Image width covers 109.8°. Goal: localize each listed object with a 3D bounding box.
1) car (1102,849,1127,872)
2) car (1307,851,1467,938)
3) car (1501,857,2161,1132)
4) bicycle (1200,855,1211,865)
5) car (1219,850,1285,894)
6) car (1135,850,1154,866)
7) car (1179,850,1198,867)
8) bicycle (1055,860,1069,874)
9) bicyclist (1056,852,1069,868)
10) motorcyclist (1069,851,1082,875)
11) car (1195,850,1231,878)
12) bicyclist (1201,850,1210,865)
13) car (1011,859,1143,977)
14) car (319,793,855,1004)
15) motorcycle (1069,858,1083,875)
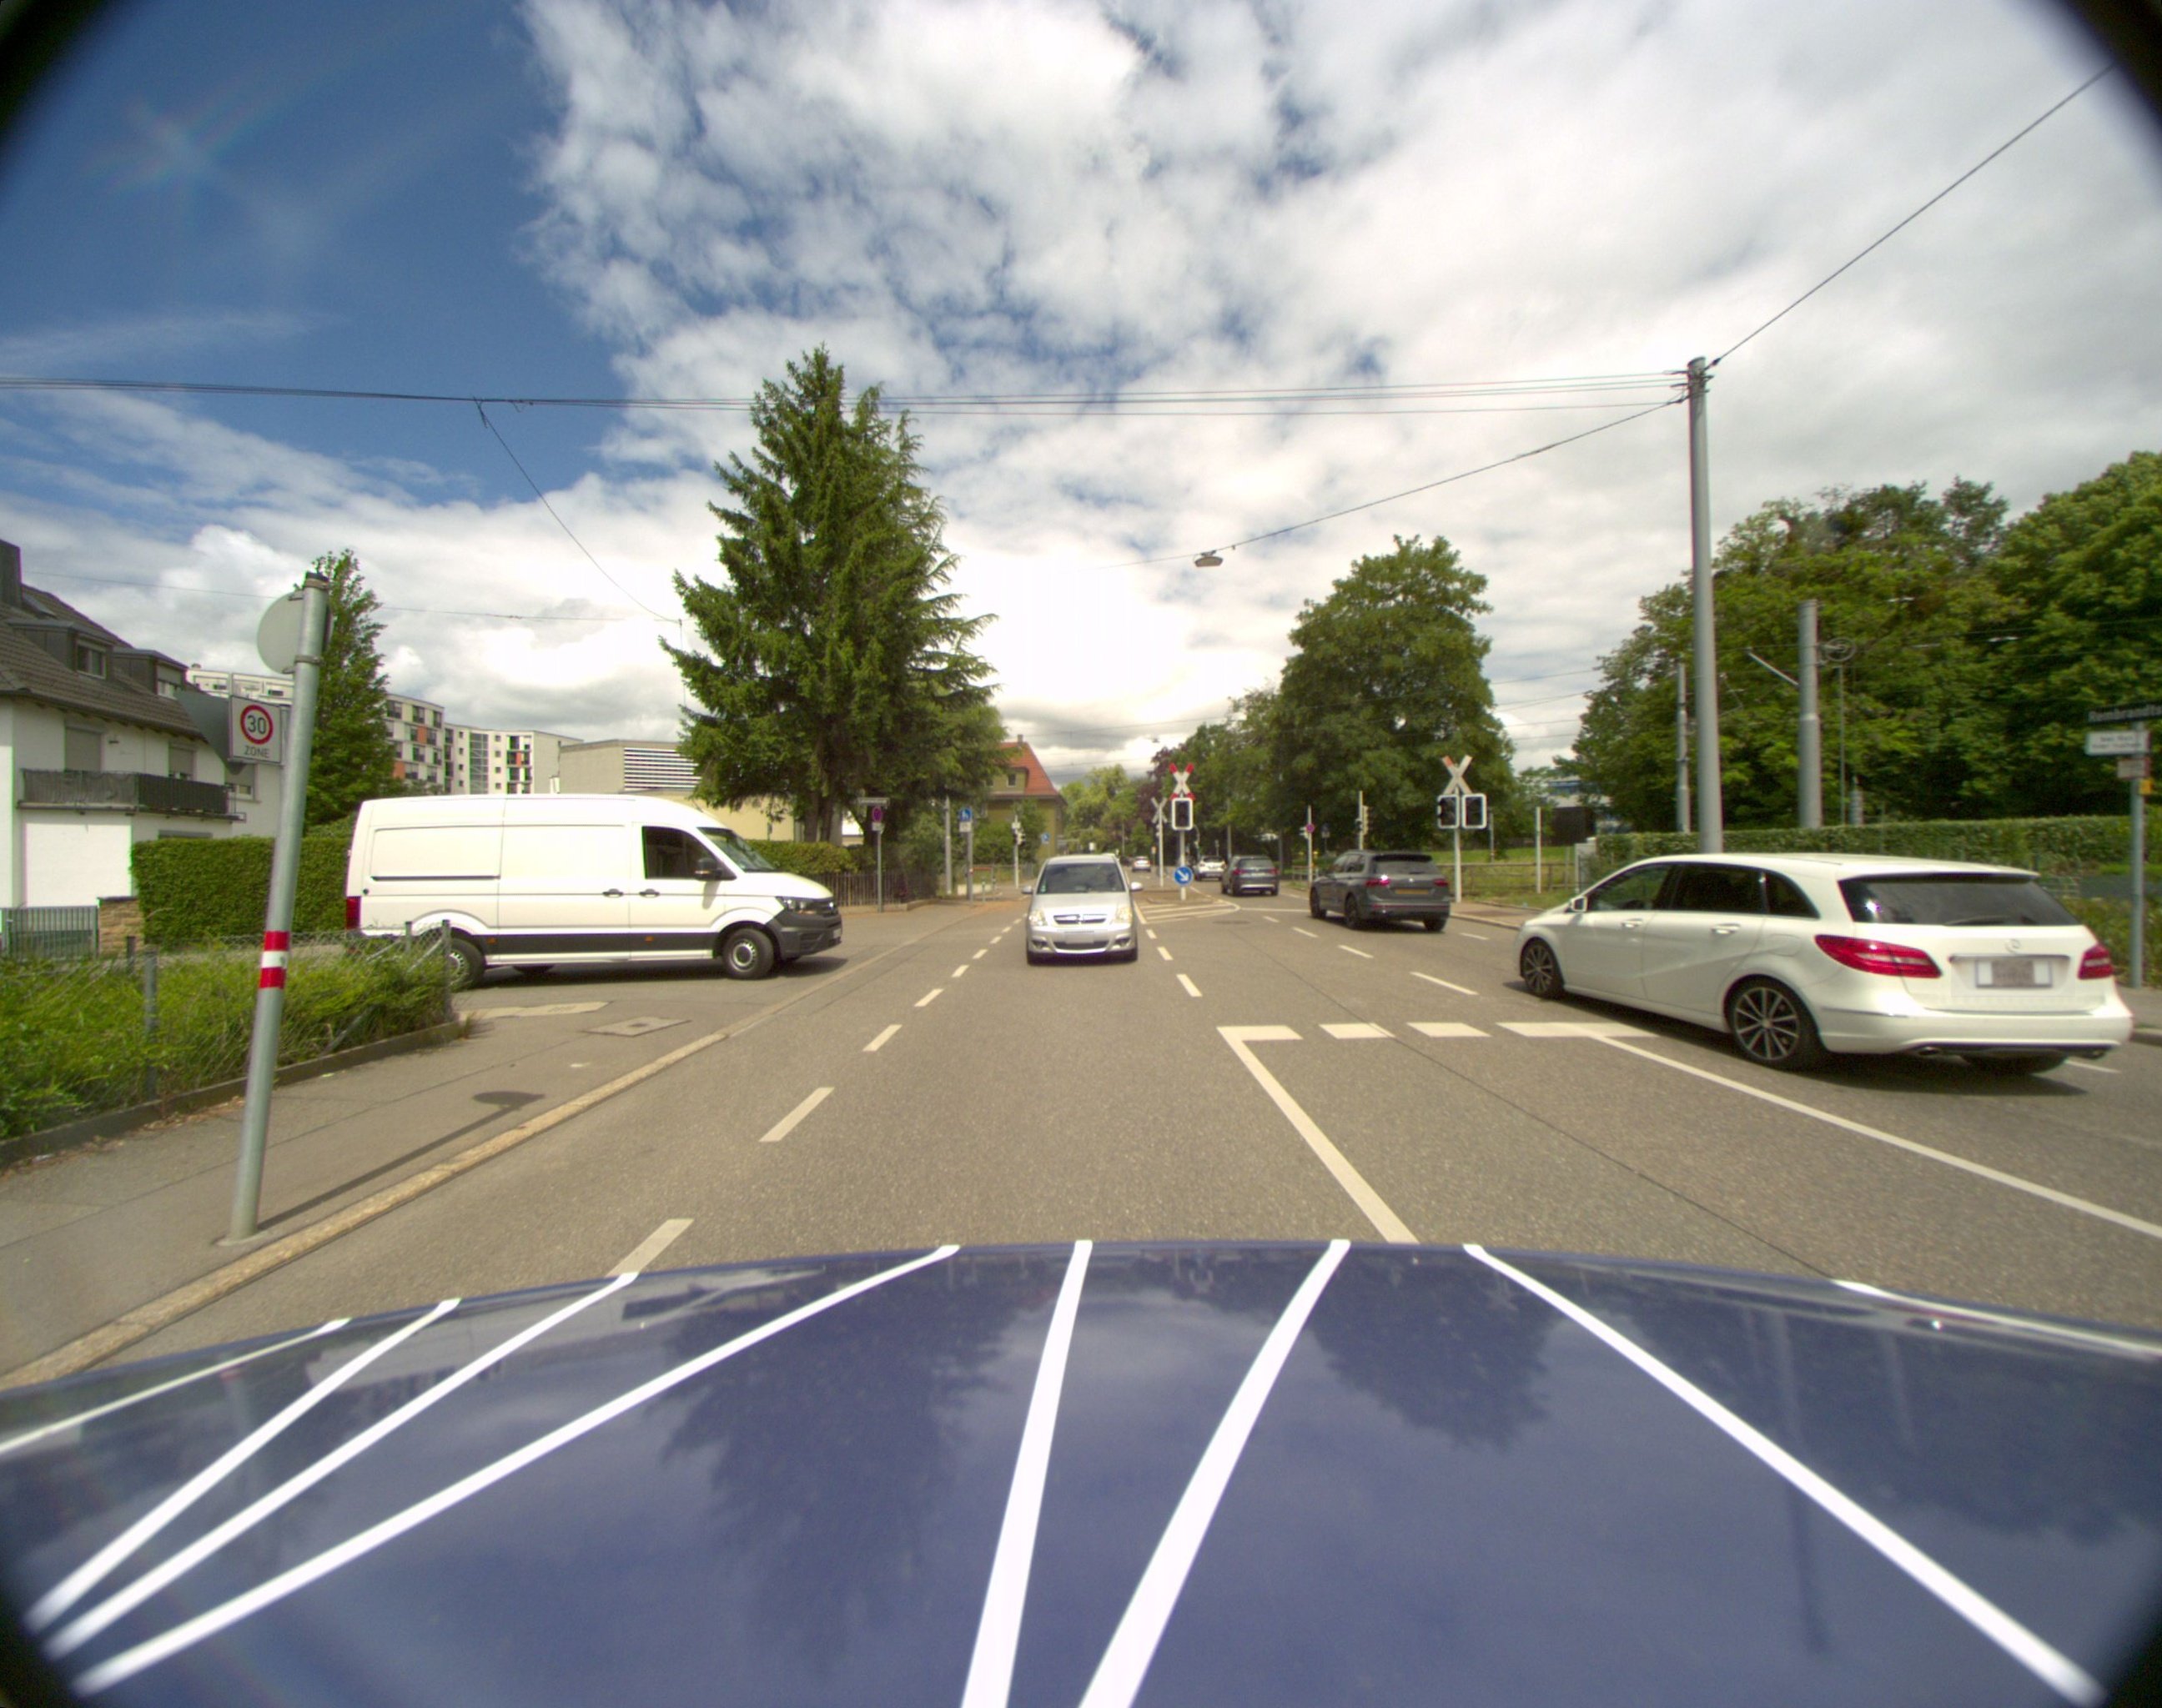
[{"bbox_3d":[2.936,0.508,67.319,1.998,1.983,4.370,0,1,1],"label":"car"},{"bbox_3d":[6.353,0.750,16.345,1.779,1.594,4.169,1,1,1],"label":"car"},{"bbox_3d":[5.647,0.833,6.515,1.779,1.552,4.169,1,0,0],"label":"car"},{"bbox_3d":[13.335,0.651,81.578,0.813,1.101,1.800,-2,0,0],"label":"bicycle"},{"bbox_3d":[6.713,0.695,30.213,1.779,1.593,4.040,-1,-1,1],"label":"car"},{"bbox_3d":[6.037,0.386,72.812,1.692,1.450,4.070,-2,1,3],"label":"car"},{"bbox_3d":[9.582,0.426,67.942,1.578,1.501,2.789,-1,0,6],"label":"car"},{"bbox_3d":[-1.462,1.011,59.202,0.934,1.034,1.915,1,0,3],"label":"bicycle"},{"bbox_3d":[-1.453,0.456,59.240,0.934,1.240,1.102,1,0,3],"label":"bicyclist"},{"bbox_3d":[-0.358,0.589,50.946,0.837,1.547,0.650,1,1,2],"label":"motorcyclist"},{"bbox_3d":[8.103,0.627,46.877,1.779,1.593,4.041,-1,-1,5],"label":"car"},{"bbox_3d":[13.332,0.359,81.510,0.807,1.599,0.772,-2,1,0],"label":"bicyclist"},{"bbox_3d":[0.064,0.902,12.533,1.780,1.519,4.000,-2,1,3],"label":"car"},{"bbox_3d":[-6.477,0.534,10.669,6.014,2.566,1.999,-1,0,-6],"label":"car"},{"bbox_3d":[-0.347,0.848,51.080,0.837,1.101,1.800,1,1,2],"label":"motorcycle"}]
